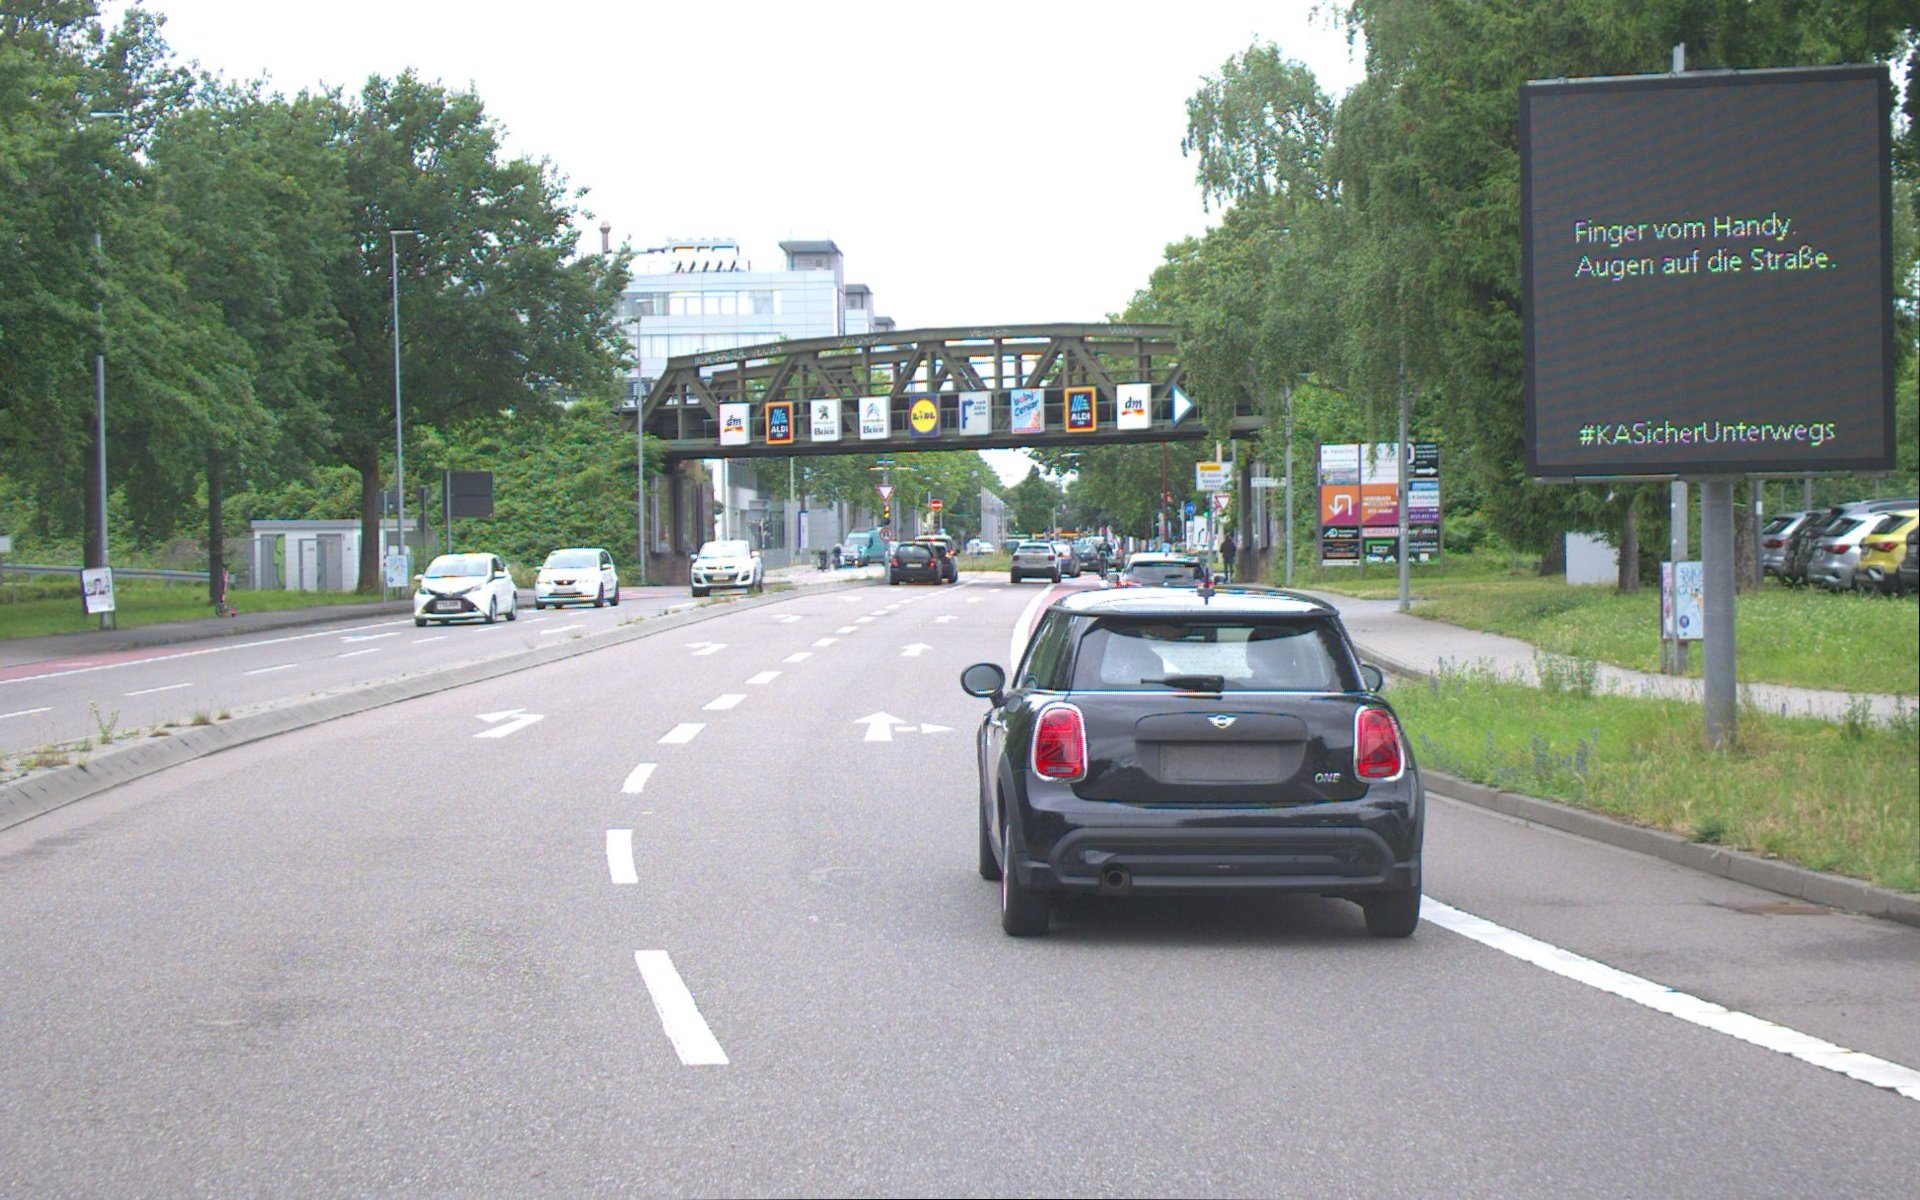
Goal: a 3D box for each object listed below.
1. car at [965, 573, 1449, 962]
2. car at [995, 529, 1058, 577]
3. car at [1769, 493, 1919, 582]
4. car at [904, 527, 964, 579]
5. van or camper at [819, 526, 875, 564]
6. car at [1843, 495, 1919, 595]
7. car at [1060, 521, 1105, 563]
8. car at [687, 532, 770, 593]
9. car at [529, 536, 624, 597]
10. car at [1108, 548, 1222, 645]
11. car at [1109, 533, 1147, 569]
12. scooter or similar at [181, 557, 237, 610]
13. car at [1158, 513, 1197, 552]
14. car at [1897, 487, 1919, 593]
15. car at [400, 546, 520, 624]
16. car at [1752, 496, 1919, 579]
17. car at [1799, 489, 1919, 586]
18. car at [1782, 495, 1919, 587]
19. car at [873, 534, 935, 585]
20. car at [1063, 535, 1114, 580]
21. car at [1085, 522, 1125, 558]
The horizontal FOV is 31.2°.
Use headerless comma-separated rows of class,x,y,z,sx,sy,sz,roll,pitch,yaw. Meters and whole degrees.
car,0.957,0.634,15.125,1.786,1.411,3.643,2,1,0
car,2.533,-1.792,130.221,2.135,1.656,3.782,0,3,4
car,15.851,-1.063,58.326,3.988,1.430,1.730,1,3,9
car,-0.973,-1.788,130.032,1.950,1.809,4.000,0,3,4
van or camper,-7.767,-3.798,236.525,1.995,2.477,7.024,-1,1,14
car,15.245,-0.814,50.952,3.988,1.430,1.730,1,3,9
car,5.795,-2.729,161.879,1.950,1.809,4.000,0,3,4
car,-6.869,-1.133,102.337,1.940,1.670,3.782,0,3,4
car,-9.482,-0.847,85.249,1.720,1.366,3.440,0,3,4
car,3.421,-0.092,56.815,1.757,1.429,4.000,-1,2,5
car,9.150,-2.695,187.387,1.950,1.809,4.000,0,3,4
scooter or similar,-16.743,-0.373,76.688,0.762,1.086,2.007,0,3,1
car,11.095,-3.450,175.034,1.950,1.809,4.000,0,3,4
car,15.229,-0.830,47.943,3.988,1.430,1.730,1,3,9
car,-10.265,-0.324,70.768,1.754,1.441,3.339,0,3,4
car,16.490,-1.148,62.411,3.988,1.430,1.730,1,3,9
car,15.144,-0.977,53.310,3.988,1.430,1.730,1,3,9
car,15.637,-0.975,56.466,3.988,1.430,1.730,1,3,9
car,-2.008,-1.480,123.342,1.884,1.656,3.782,0,3,4
car,5.161,-1.711,137.533,1.884,1.656,3.782,0,3,4
car,7.377,-3.063,174.226,1.884,1.656,3.782,0,3,4
